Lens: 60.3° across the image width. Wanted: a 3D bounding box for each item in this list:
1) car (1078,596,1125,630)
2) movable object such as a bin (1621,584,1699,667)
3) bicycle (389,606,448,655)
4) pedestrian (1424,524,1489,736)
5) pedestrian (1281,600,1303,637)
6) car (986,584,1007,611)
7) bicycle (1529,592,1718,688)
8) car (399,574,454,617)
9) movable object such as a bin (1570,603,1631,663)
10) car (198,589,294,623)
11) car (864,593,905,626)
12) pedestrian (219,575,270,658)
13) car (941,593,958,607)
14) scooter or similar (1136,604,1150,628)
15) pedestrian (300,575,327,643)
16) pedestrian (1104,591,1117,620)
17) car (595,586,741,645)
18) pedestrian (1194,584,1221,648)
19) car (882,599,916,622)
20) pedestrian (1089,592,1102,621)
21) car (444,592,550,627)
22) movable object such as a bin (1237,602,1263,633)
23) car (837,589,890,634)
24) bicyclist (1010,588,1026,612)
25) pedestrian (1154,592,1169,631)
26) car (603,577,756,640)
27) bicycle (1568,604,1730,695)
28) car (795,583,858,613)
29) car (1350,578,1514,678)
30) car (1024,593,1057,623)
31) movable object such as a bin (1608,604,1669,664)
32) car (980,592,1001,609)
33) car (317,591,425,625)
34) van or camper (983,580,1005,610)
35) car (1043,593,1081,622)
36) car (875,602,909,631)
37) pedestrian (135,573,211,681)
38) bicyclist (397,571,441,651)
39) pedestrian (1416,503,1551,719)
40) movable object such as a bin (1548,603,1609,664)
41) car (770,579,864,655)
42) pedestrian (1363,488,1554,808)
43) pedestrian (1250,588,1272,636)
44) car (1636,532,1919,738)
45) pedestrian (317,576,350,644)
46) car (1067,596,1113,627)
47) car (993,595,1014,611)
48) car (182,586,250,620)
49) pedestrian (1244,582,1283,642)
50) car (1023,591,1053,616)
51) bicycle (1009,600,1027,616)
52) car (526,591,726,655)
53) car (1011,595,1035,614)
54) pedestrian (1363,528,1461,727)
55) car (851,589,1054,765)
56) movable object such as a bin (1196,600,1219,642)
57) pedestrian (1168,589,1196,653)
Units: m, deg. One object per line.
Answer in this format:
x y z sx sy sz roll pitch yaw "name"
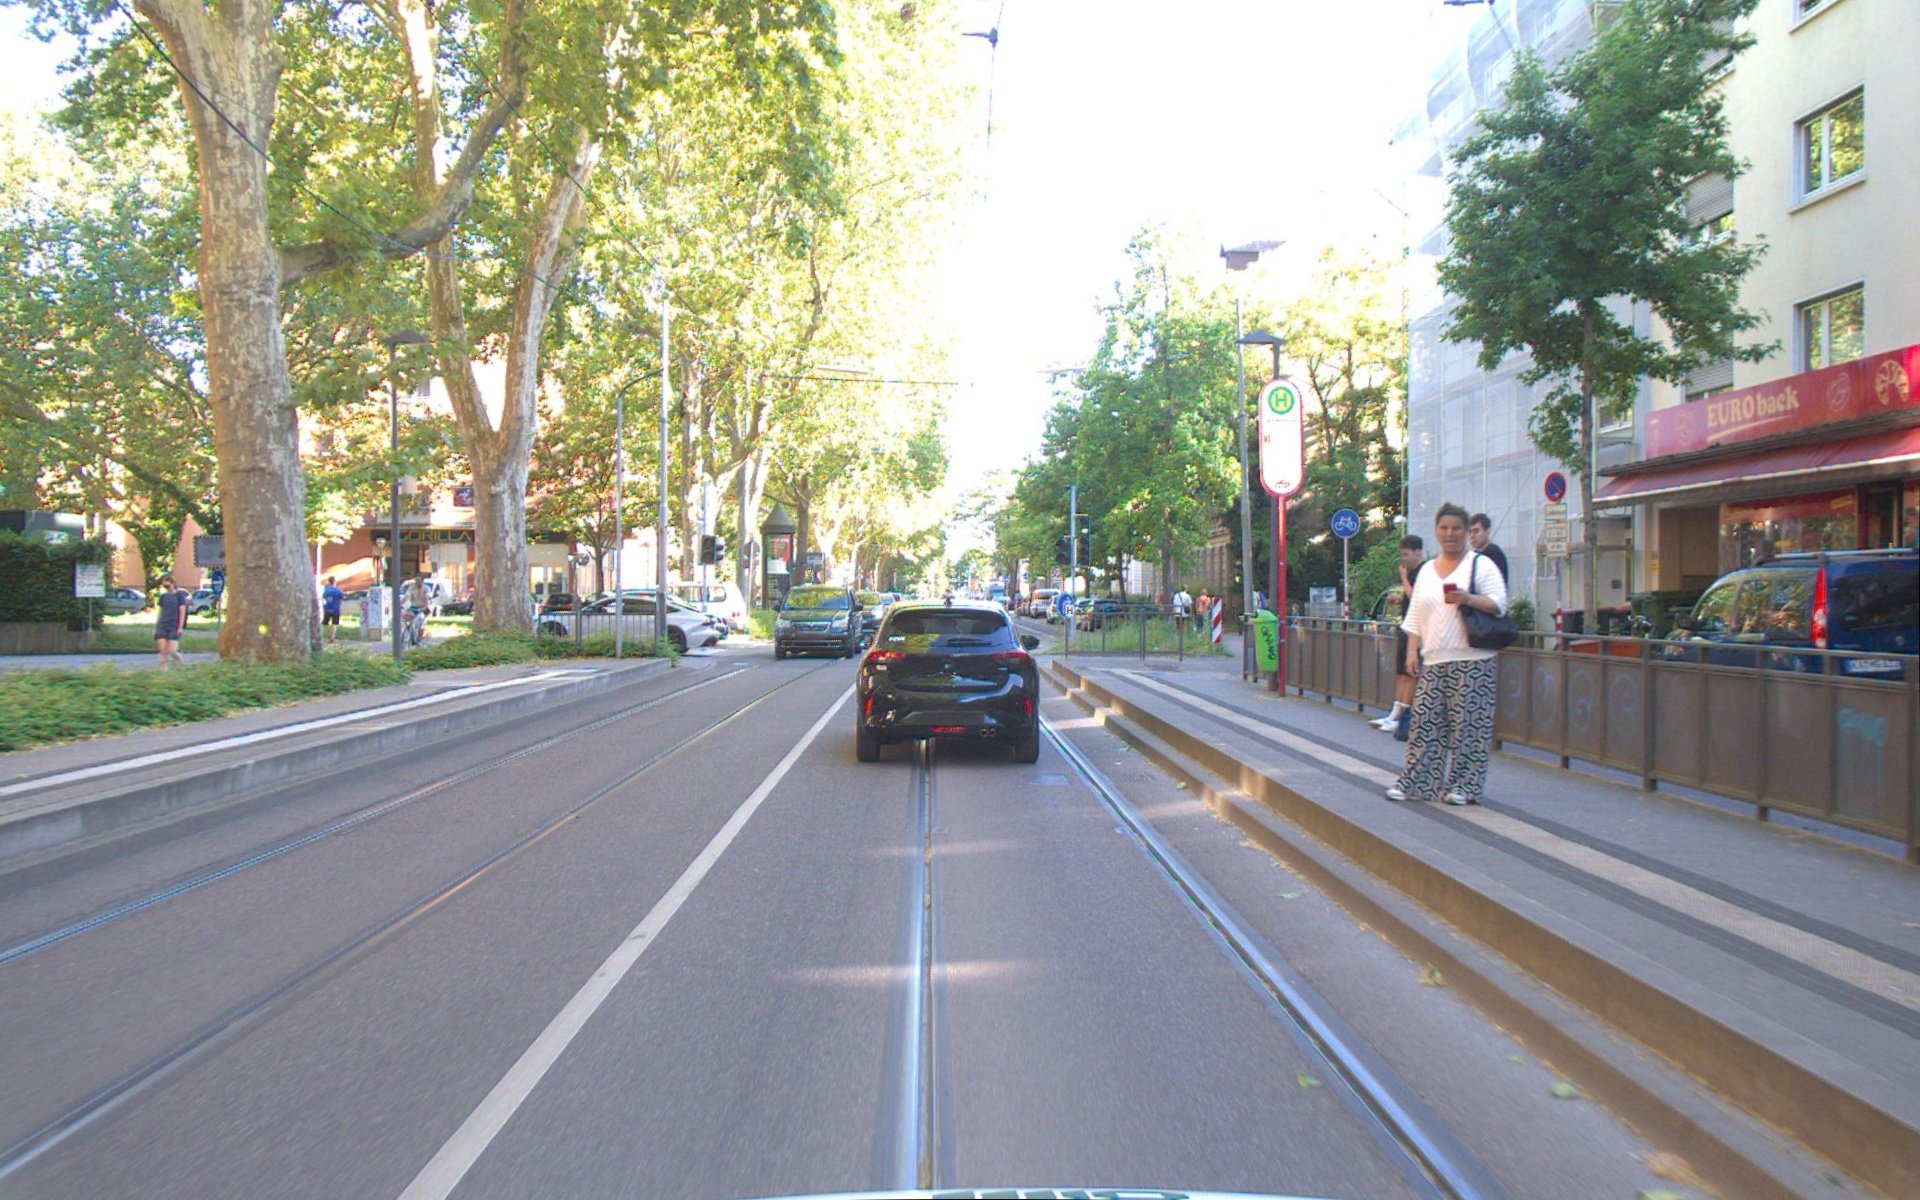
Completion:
6.389 0.582 75.018 1.639 1.437 3.841 -2 0 -3 "car"
12.405 0.446 29.330 0.979 1.421 0.824 -1 0 -3 "movable object such as a bin"
-12.434 0.679 38.033 0.700 1.082 1.839 1 0 0 "bicycle"
4.343 0.252 14.488 0.482 1.801 0.704 1 0 14 "pedestrian"
10.592 0.591 52.831 0.660 1.138 0.660 1 0 10 "pedestrian"
3.924 -0.309 178.555 2.043 2.820 4.696 -1 0 -1 "car"
9.087 0.539 22.729 2.159 1.231 1.029 -2 0 -1 "bicycle"
-26.951 -0.227 83.710 1.957 2.038 4.908 1 0 -10 "car"
12.407 0.626 32.055 0.863 1.130 0.696 -1 0 -3 "movable object such as a bin"
-32.538 0.286 75.448 3.636 1.475 1.686 1 0 -6 "car"
-3.542 0.459 78.254 1.739 1.486 4.204 1 0 0 "car"
-14.817 0.341 34.281 0.695 1.702 0.779 1 0 -1 "pedestrian"
-1.415 0.029 224.594 2.208 1.873 5.529 -1 0 -1 "car"
9.733 0.855 88.008 0.564 1.268 1.335 1 0 0 "scooter or similar"
-16.497 0.228 42.201 0.526 1.735 0.586 1 -1 -32 "pedestrian"
9.078 0.355 99.954 0.711 1.739 0.856 1 0 0 "pedestrian"
-8.743 0.468 49.759 4.056 1.675 1.901 1 0 -3 "car"
7.233 0.451 48.291 0.710 1.824 0.969 -2 0 10 "pedestrian"
-4.208 0.696 113.667 1.633 1.469 3.459 1 0 -15 "car"
8.168 0.416 99.969 0.711 1.722 0.957 1 0 1 "pedestrian"
-21.479 0.438 76.836 4.441 1.515 1.857 1 0 -7 "car"
10.845 0.663 61.844 0.653 1.146 0.955 1 0 -8 "movable object such as a bin"
-3.755 0.441 64.888 1.869 1.666 4.320 -1 0 -1 "car"
3.683 0.010 105.447 0.939 1.525 1.093 1 0 -3 "bicyclist"
9.592 0.560 78.695 0.586 1.824 0.729 1 0 14 "pedestrian"
-8.765 0.266 52.023 4.479 1.866 1.937 1 0 -3 "car"
9.859 0.696 23.764 0.675 1.231 2.190 -1 0 -29 "bicycle"
-10.625 -0.174 131.704 4.934 2.299 2.084 1 0 -5 "car"
8.521 0.450 30.219 1.726 1.650 4.442 -2 1 0 "car"
5.413 0.514 111.405 1.846 1.883 4.966 -2 0 -1 "car"
13.125 0.659 32.026 0.863 1.130 0.696 -1 0 -3 "movable object such as a bin"
3.552 0.056 192.310 2.208 1.873 5.529 -1 0 -1 "car"
-26.988 0.354 75.926 4.385 1.475 1.820 1 0 -9 "car"
3.779 -0.580 185.119 2.208 3.272 5.529 -1 0 -1 "van or camper"
5.896 0.441 95.886 1.846 1.595 4.241 -2 0 -1 "car"
-3.891 0.928 95.047 1.778 1.596 4.115 -1 0 -1 "car"
-12.775 0.434 26.867 0.723 1.701 0.968 1 0 0 "pedestrian"
-12.428 0.253 38.032 0.685 1.819 0.839 1 0 0 "bicyclist"
4.313 0.092 13.663 0.828 1.730 0.692 1 0 -8 "pedestrian"
11.792 0.633 31.532 0.863 1.130 0.696 -1 0 -3 "movable object such as a bin"
-3.481 0.407 41.120 1.953 1.746 5.141 1 0 -1 "car"
2.860 0.261 9.516 0.633 1.742 0.826 1 0 -35 "pedestrian"
11.110 0.455 60.967 0.607 1.756 0.552 1 0 -13 "pedestrian"
9.262 0.301 18.126 1.953 1.929 4.194 -3 0 1 "car"
-15.630 0.247 41.232 0.686 1.688 0.557 1 0 -28 "pedestrian"
6.367 0.548 81.538 1.846 1.392 4.106 -2 0 -1 "car"
4.215 0.321 161.260 1.846 1.459 4.529 -2 0 -1 "car"
-37.448 0.149 83.324 1.908 1.646 4.475 1 0 -8 "car"
9.739 0.385 53.056 0.854 1.918 0.993 1 0 -19 "pedestrian"
5.680 0.259 120.542 1.847 1.797 4.677 0 0 -1 "car"
3.681 0.516 105.477 0.948 1.016 2.582 1 0 -2 "bicycle"
-8.289 0.560 41.373 4.671 1.486 1.953 1 0 -5 "car"
5.162 0.363 135.365 1.668 1.448 3.977 -3 0 -1 "car"
4.145 0.249 15.192 0.674 1.786 0.579 1 0 -8 "pedestrian"
-0.092 0.671 16.241 1.727 1.486 3.949 1 0 -1 "car"
7.393 0.620 49.311 0.625 1.223 1.306 -2 0 10 "movable object such as a bin"
6.487 0.600 48.288 0.710 1.824 0.854 -2 0 10 "pedestrian"
